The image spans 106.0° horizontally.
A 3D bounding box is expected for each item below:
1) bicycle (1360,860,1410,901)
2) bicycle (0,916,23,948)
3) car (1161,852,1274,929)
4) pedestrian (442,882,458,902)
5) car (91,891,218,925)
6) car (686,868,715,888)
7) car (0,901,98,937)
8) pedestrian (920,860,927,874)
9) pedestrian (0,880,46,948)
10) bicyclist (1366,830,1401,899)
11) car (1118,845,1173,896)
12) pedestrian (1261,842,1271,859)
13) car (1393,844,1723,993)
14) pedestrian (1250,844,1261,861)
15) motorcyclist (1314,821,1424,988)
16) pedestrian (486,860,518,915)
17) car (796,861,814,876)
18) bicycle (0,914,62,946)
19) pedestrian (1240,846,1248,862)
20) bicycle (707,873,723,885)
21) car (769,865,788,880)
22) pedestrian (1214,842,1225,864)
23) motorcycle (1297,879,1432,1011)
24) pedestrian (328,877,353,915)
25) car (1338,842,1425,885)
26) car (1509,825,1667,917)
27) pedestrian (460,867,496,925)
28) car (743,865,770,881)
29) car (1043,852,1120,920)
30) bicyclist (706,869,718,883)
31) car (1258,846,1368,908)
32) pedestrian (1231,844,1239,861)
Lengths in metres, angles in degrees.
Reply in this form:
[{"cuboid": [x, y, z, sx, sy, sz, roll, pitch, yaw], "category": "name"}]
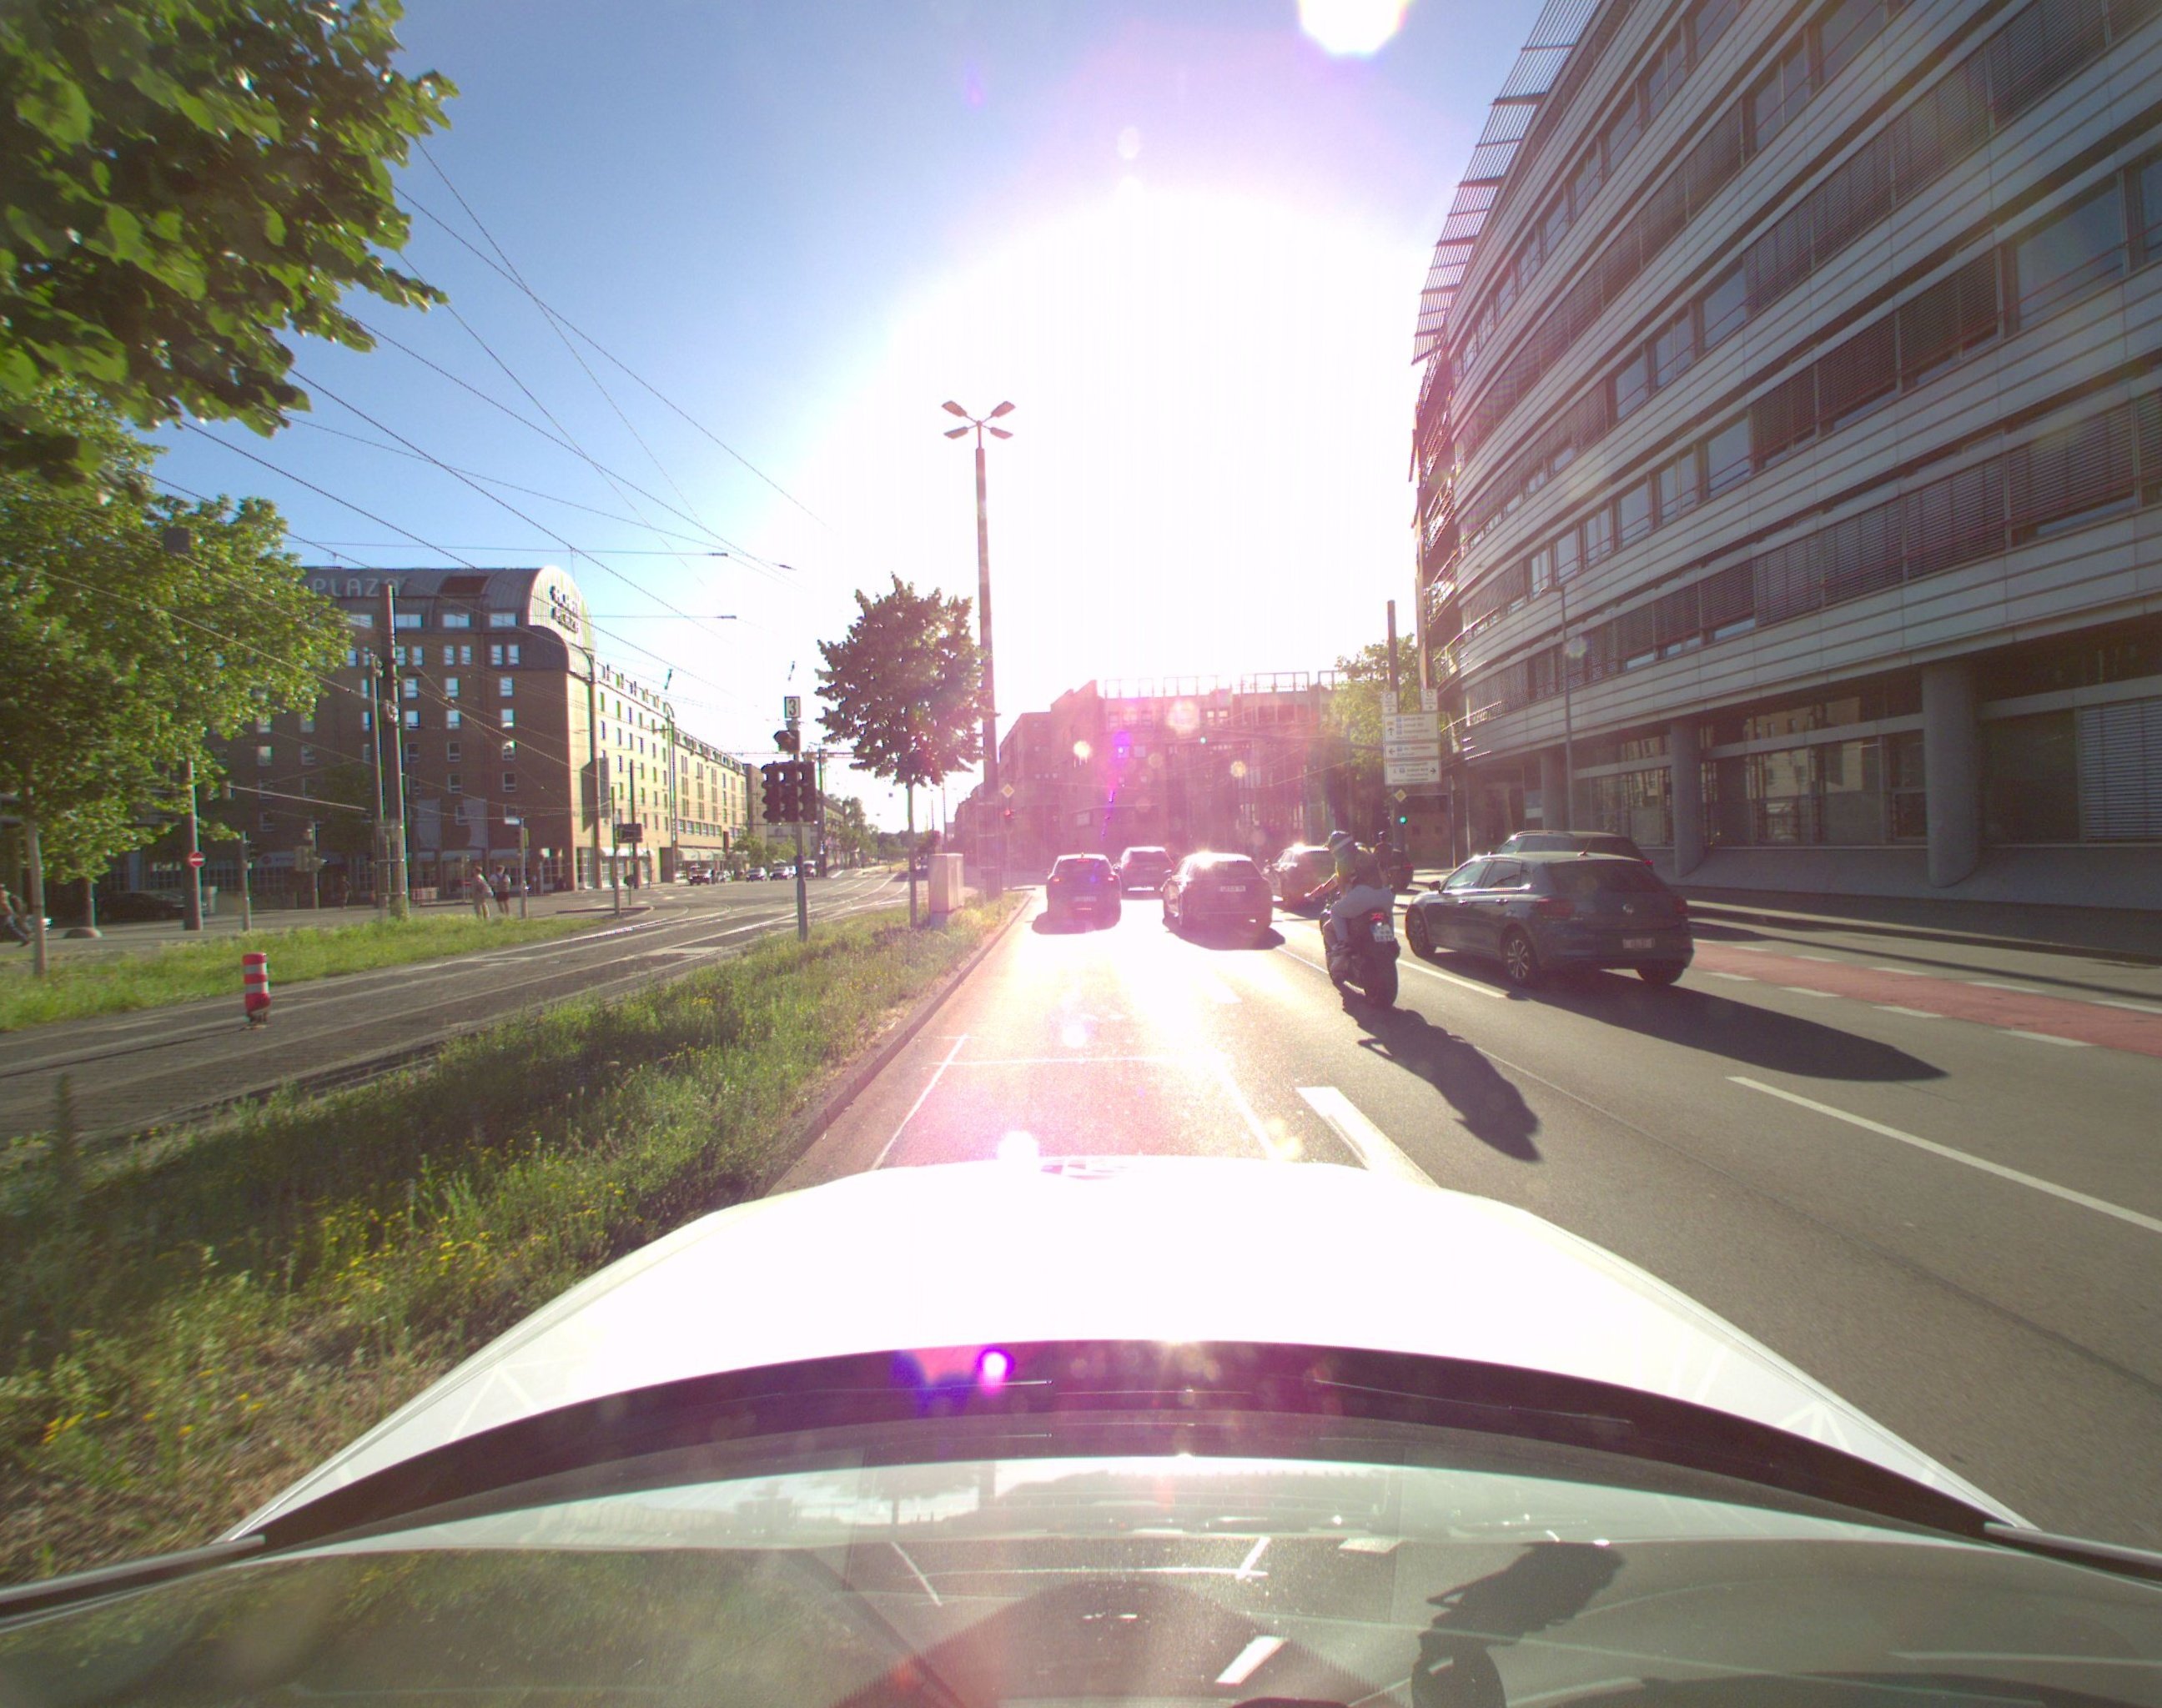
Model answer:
[{"cuboid": [8.182, 0.695, 21.995, 0.490, 0.997, 2.328, -2, 0, 1], "category": "bicycle"}, {"cuboid": [-34.727, 2.491, 25.673, 1.764, 0.951, 0.540, -2, 0, -8], "category": "bicycle"}, {"cuboid": [2.707, 0.668, 16.980, 1.731, 1.349, 4.001, -2, 0, 1], "category": "car"}, {"cuboid": [-50.135, 2.999, 64.724, 0.674, 1.503, 0.658, -2, 0, -3], "category": "pedestrian"}, {"cuboid": [-46.268, 2.665, 40.738, 3.983, 1.420, 1.756, -2, 0, -7], "category": "car"}, {"cuboid": [-41.413, 2.586, 88.610, 1.996, 2.013, 3.982, -2, 0, -13], "category": "car"}, {"cuboid": [-43.892, 2.709, 33.657, 3.976, 1.266, 1.999, -2, 0, -2], "category": "car"}, {"cuboid": [-18.173, 1.471, 93.783, 0.743, 1.640, 0.764, -2, 0, -13], "category": "pedestrian"}, {"cuboid": [-32.129, 1.796, 24.575, 0.729, 2.013, 0.839, -1, 0, 4], "category": "pedestrian"}, {"cuboid": [8.174, 0.280, 22.015, 0.575, 1.791, 0.864, -2, 0, 1], "category": "bicyclist"}, {"cuboid": [2.284, 0.557, 29.677, 1.731, 1.651, 4.001, -2, 0, 1], "category": "car"}, {"cuboid": [18.516, -0.354, 81.559, 0.895, 1.617, 0.562, -2, 0, 8], "category": "pedestrian"}, {"cuboid": [5.531, 0.631, 10.127, 1.801, 1.457, 4.001, -1, 0, 1], "category": "car"}, {"cuboid": [17.243, -0.144, 80.456, 0.895, 1.617, 0.562, -2, 0, 8], "category": "pedestrian"}, {"cuboid": [2.834, 0.467, 8.109, 0.741, 1.530, 1.022, -2, 0, 4], "category": "motorcyclist"}, {"cuboid": [-19.619, 1.126, 27.587, 0.562, 1.817, 0.661, -2, 0, -7], "category": "pedestrian"}, {"cuboid": [-30.815, 1.612, 90.974, 1.749, 1.504, 3.858, -2, 0, -17], "category": "car"}, {"cuboid": [-34.675, 2.490, 26.628, 1.764, 0.951, 0.540, -2, 0, -8], "category": "bicycle"}, {"cuboid": [16.520, -0.022, 82.395, 0.734, 1.617, 0.562, -2, 0, 8], "category": "pedestrian"}, {"cuboid": [-37.410, 2.535, 83.193, 0.649, 1.085, 2.918, -2, 0, -8], "category": "bicycle"}, {"cuboid": [-33.522, 2.022, 90.363, 1.749, 1.504, 3.858, -2, 0, -17], "category": "car"}, {"cuboid": [11.253, -0.099, 66.139, 0.700, 1.759, 0.564, -2, 0, 25], "category": "pedestrian"}, {"cuboid": [2.871, 0.867, 8.482, 0.772, 1.115, 1.971, -2, 0, 3], "category": "motorcycle"}, {"cuboid": [-41.080, 2.328, 45.167, 0.663, 2.013, 0.678, -2, 0, 1], "category": "pedestrian"}, {"cuboid": [10.622, 0.284, 29.098, 1.984, 1.419, 4.007, 0, 1, 5], "category": "car"}, {"cuboid": [11.001, 0.323, 18.046, 1.977, 1.750, 4.350, -2, 0, 19], "category": "car"}, {"cuboid": [-19.602, 1.346, 26.477, 0.631, 1.830, 0.661, -2, 0, -7], "category": "pedestrian"}, {"cuboid": [-36.551, 2.131, 91.796, 1.996, 1.596, 4.717, -2, 0, -13], "category": "car"}, {"cuboid": [0.048, 0.693, 19.844, 1.643, 1.433, 4.001, -2, 0, 1], "category": "car"}, {"cuboid": [-37.406, 2.190, 82.562, 0.757, 1.375, 0.948, -2, 0, -8], "category": "bicyclist"}, {"cuboid": [5.953, 0.536, 21.390, 1.801, 1.457, 4.001, -1, 0, 1], "category": "car"}, {"cuboid": [13.045, -0.115, 69.144, 0.528, 1.430, 0.598, -2, 0, -1], "category": "pedestrian"}]
